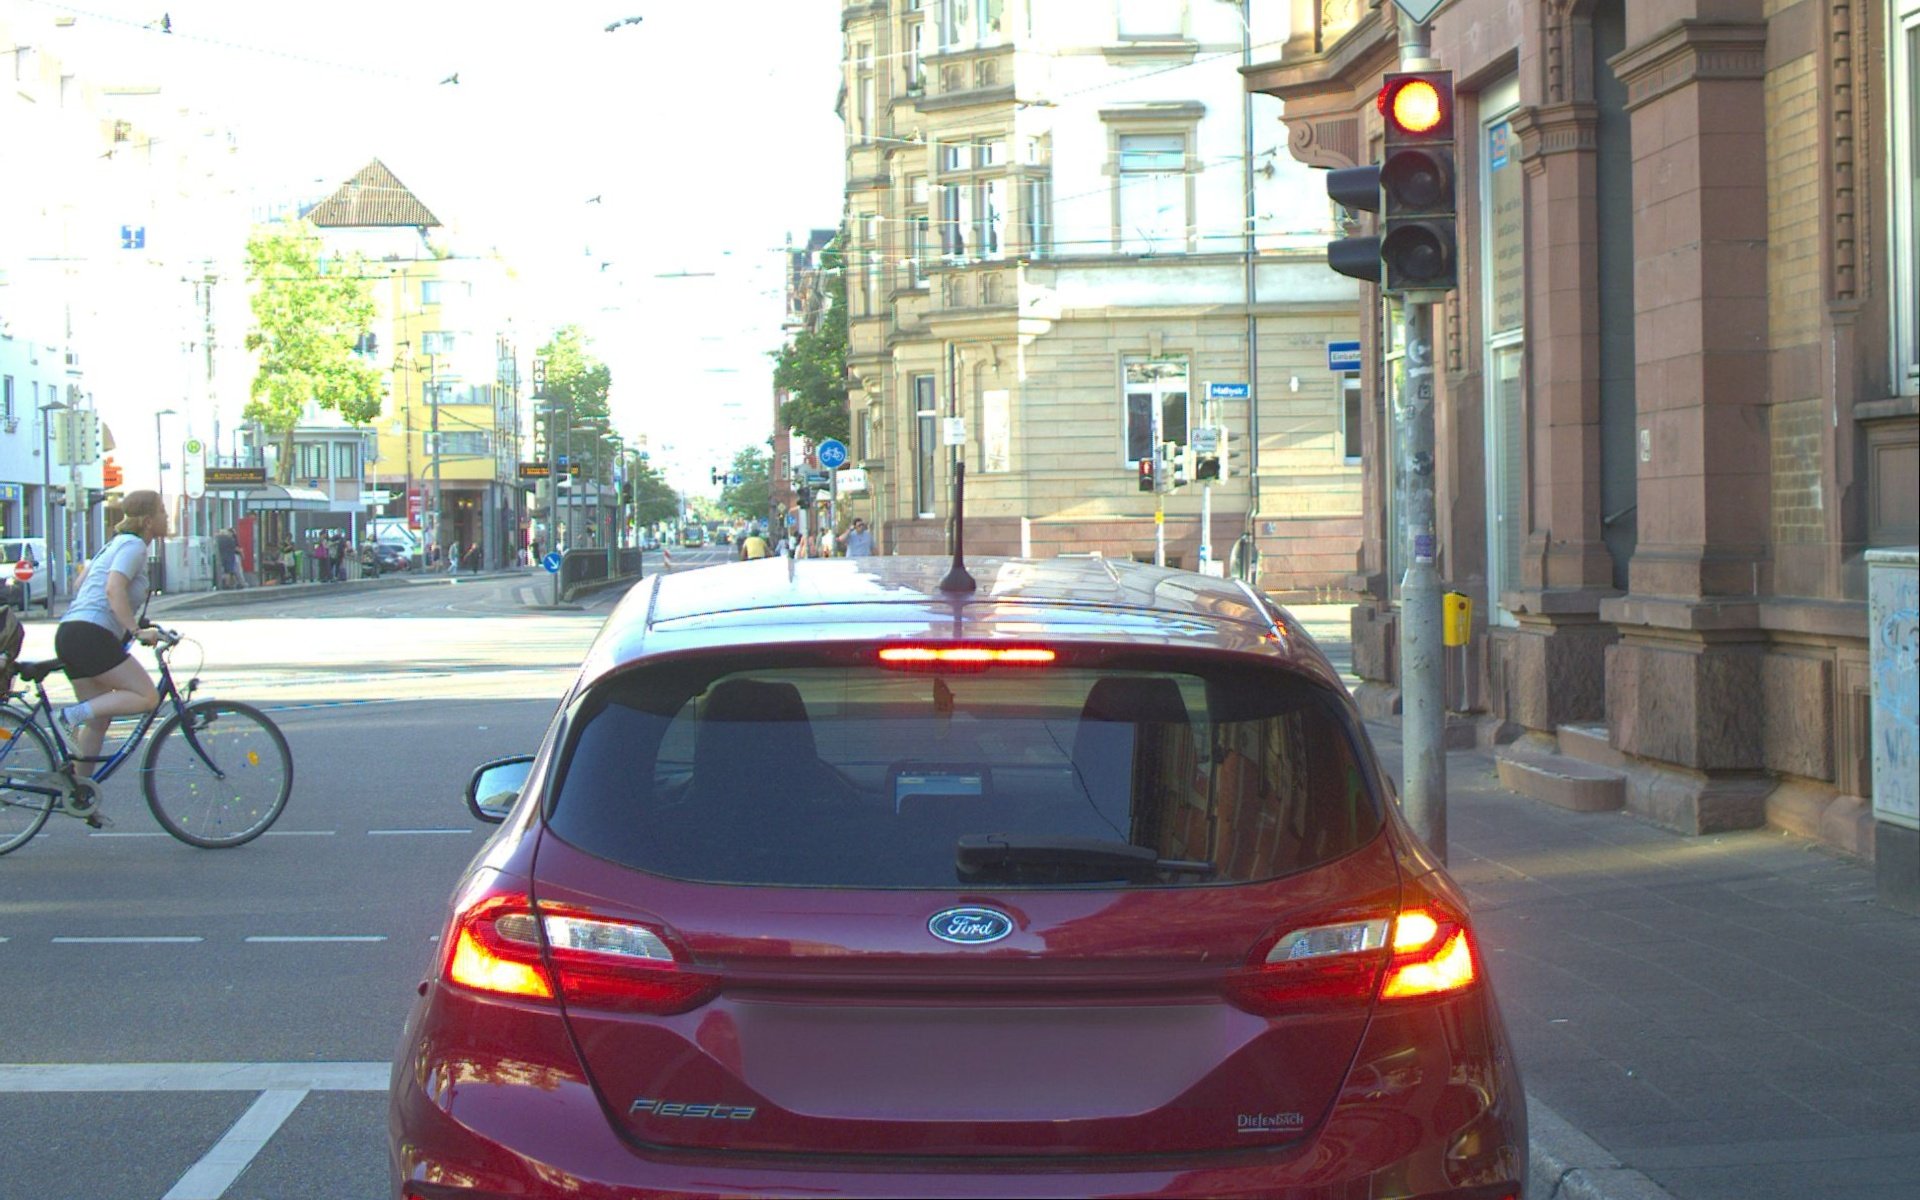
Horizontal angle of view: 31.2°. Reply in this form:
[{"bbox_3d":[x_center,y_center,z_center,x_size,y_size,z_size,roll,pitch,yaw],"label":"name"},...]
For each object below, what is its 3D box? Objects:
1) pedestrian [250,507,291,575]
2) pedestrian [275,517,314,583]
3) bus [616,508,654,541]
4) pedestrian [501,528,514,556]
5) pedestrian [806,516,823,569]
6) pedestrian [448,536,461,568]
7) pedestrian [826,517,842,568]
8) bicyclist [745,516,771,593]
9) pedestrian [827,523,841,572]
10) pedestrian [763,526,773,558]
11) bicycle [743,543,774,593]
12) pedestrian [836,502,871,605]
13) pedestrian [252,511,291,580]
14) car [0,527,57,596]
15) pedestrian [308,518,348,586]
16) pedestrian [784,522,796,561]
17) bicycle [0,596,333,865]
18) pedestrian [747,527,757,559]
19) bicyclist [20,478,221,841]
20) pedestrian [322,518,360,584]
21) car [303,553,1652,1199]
[{"bbox_3d":[-20.597,-1.758,102.706,1.045,2.007,0.959,-1,1,-5],"label":"pedestrian"},{"bbox_3d":[-20.381,-1.527,105.318,1.045,2.007,0.959,-1,1,-5],"label":"pedestrian"},{"bbox_3d":[-20.516,-4.746,217.261,1.925,2.007,7.138,-1,1,-2],"label":"bus"},{"bbox_3d":[-25.968,-3.319,197.182,0.628,1.599,0.579,-1,1,-20],"label":"pedestrian"},{"bbox_3d":[-5.581,-2.202,131.688,0.577,2.007,0.631,-1,1,3],"label":"pedestrian"},{"bbox_3d":[-24.309,-2.306,165.214,0.524,1.483,0.583,-1,1,-1],"label":"pedestrian"},{"bbox_3d":[-4.947,-2.262,135.040,0.577,2.007,0.631,-1,1,3],"label":"pedestrian"},{"bbox_3d":[-4.434,-1.007,75.354,0.499,1.670,0.545,-1,1,1],"label":"bicyclist"},{"bbox_3d":[-4.312,-1.799,117.712,0.413,1.674,0.485,-1,1,-1],"label":"pedestrian"},{"bbox_3d":[-11.238,-3.408,201.014,0.577,1.880,0.631,-1,1,-3],"label":"pedestrian"},{"bbox_3d":[-4.423,-0.712,75.529,0.526,1.085,1.486,-1,1,2],"label":"bicycle"},{"bbox_3d":[-2.101,-0.913,67.757,0.651,2.007,0.760,-1,1,-4],"label":"pedestrian"},{"bbox_3d":[-20.238,-1.605,101.050,0.956,2.007,1.049,-1,1,-3],"label":"pedestrian"},{"bbox_3d":[-24.307,-0.996,87.861,1.701,1.713,3.565,-1,1,-4],"label":"car"},{"bbox_3d":[-18.935,-1.449,103.028,1.045,2.007,0.959,-1,1,-5],"label":"pedestrian"},{"bbox_3d":[-8.663,-2.987,175.359,0.577,2.007,0.631,-1,1,-2],"label":"pedestrian"},{"bbox_3d":[-3.957,0.580,15.805,2.018,1.173,0.628,0,1,-28],"label":"bicycle"},{"bbox_3d":[-12.396,-3.413,204.905,0.577,1.880,0.669,-1,1,-3],"label":"pedestrian"},{"bbox_3d":[-3.875,0.257,15.848,0.729,1.621,0.766,0,1,-28],"label":"bicyclist"},{"bbox_3d":[-19.075,-1.524,105.947,1.045,2.007,0.959,-1,1,-5],"label":"pedestrian"},{"bbox_3d":[-0.141,0.660,6.440,1.754,1.461,3.946,1,1,-5],"label":"car"}]
